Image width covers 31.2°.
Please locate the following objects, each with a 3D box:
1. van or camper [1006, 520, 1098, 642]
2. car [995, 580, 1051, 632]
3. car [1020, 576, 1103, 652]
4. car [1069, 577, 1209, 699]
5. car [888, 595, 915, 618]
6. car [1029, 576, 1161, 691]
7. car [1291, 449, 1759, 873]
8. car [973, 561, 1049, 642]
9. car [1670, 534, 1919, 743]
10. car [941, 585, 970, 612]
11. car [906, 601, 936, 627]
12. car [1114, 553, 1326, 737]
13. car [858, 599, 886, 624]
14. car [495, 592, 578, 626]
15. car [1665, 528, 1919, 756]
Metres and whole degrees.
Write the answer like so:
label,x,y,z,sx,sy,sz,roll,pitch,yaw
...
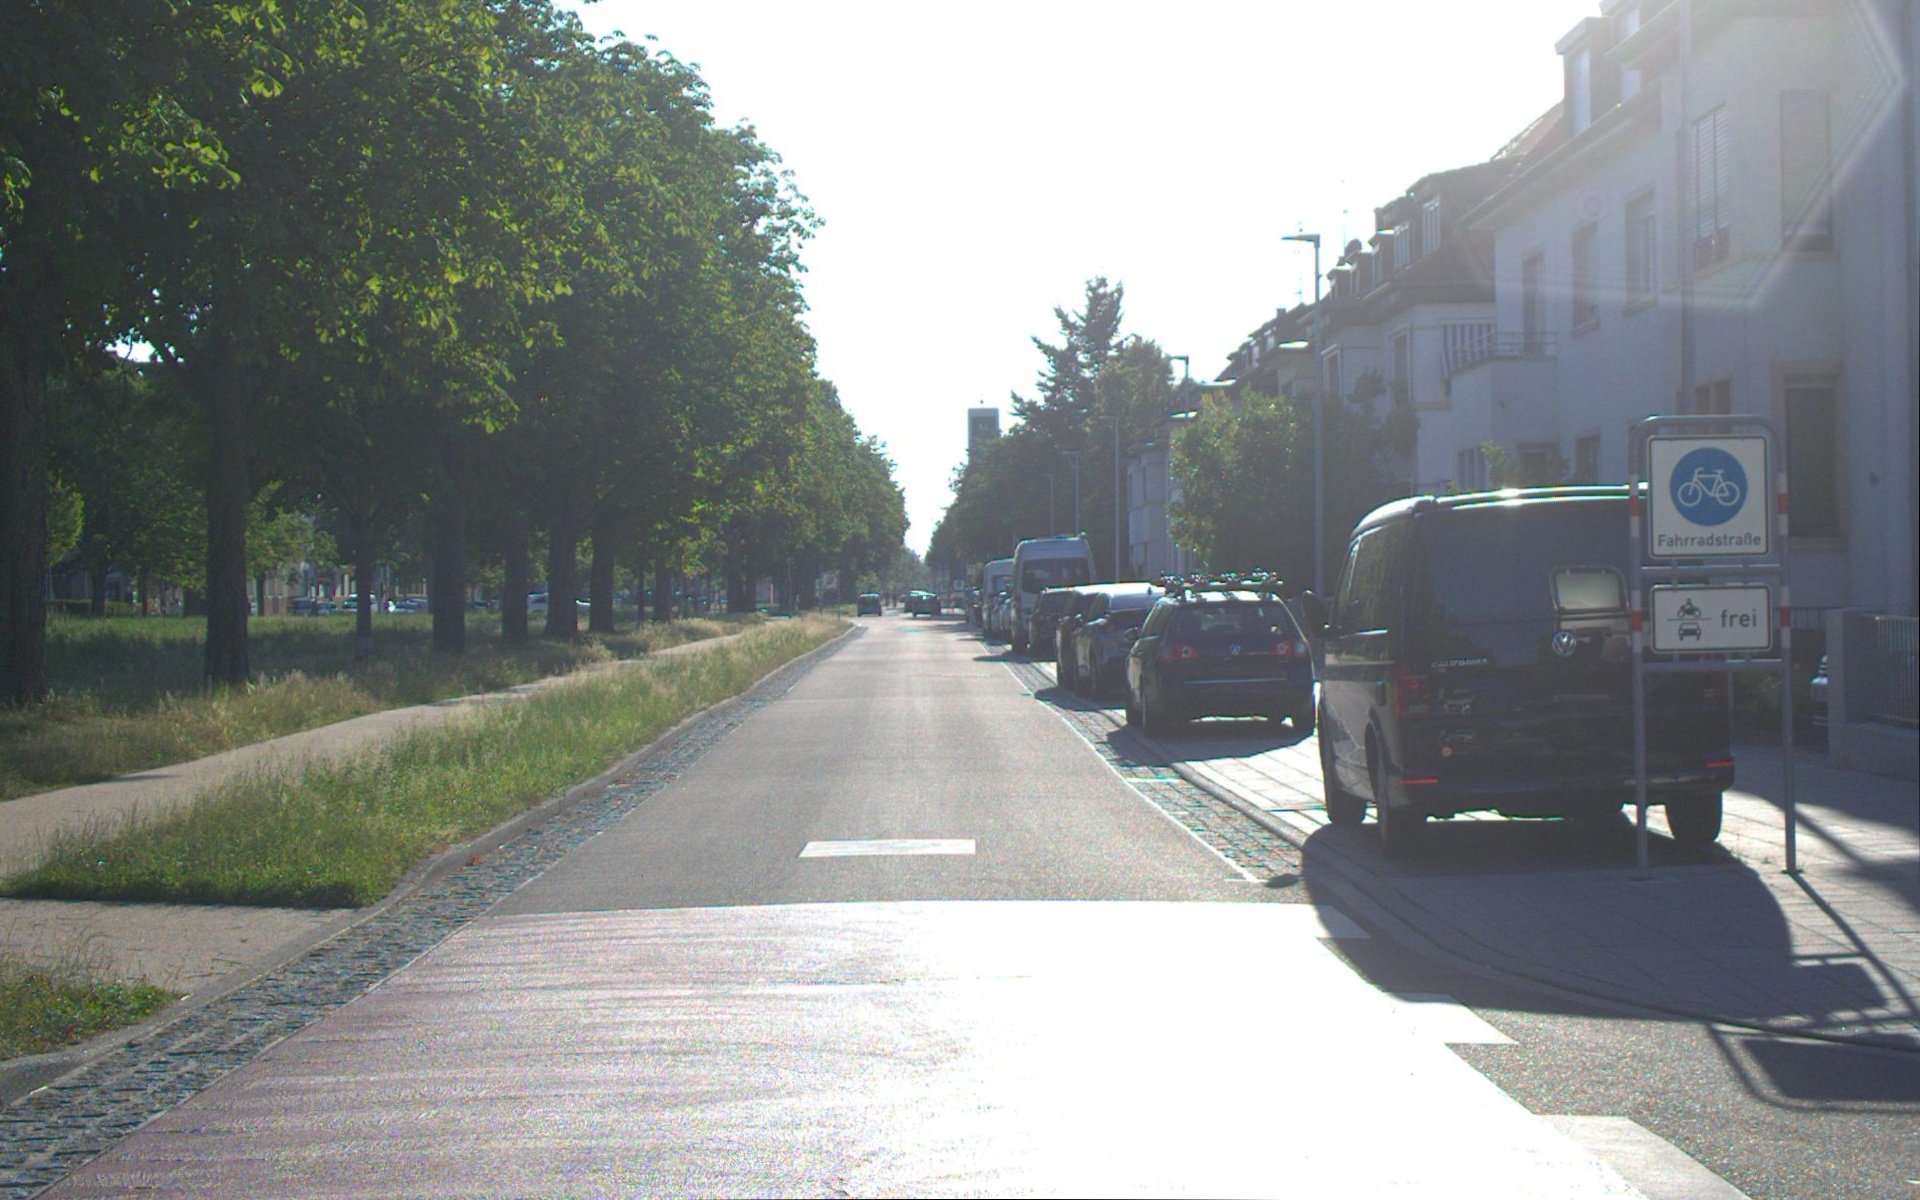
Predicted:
label,x,y,z,sx,sy,sz,roll,pitch,yaw
van or camper,2.148,-0.396,81.615,1.943,2.768,5.939,1,-1,0
car,1.930,0.180,105.767,1.650,1.525,3.851,-1,0,1
car,2.194,0.303,75.188,1.663,1.587,4.086,1,0,0
car,2.471,0.518,48.401,1.718,1.568,4.210,-2,0,0
car,-4.218,0.485,248.235,1.863,1.591,3.870,1,-1,-1
car,2.089,0.490,54.222,1.832,1.679,4.415,1,1,0
car,3.167,0.308,20.265,1.906,2.124,4.814,-2,0,0
car,1.632,0.034,111.764,2.126,2.524,5.189,-1,0,-2
car,8.493,0.300,29.791,4.216,1.720,1.853,-1,0,-4
car,-0.253,-0.081,199.499,1.650,1.525,3.851,-1,0,1
car,-2.482,0.865,217.853,1.863,1.591,3.894,1,0,-1
car,2.700,0.441,36.600,1.794,1.765,4.472,-2,0,-1
car,-5.885,0.772,230.042,1.863,1.591,3.870,1,-1,-1
car,-22.720,0.480,184.540,4.345,1.758,2.000,1,-1,-9
car,7.917,0.344,27.205,4.216,1.720,1.853,1,0,-4
